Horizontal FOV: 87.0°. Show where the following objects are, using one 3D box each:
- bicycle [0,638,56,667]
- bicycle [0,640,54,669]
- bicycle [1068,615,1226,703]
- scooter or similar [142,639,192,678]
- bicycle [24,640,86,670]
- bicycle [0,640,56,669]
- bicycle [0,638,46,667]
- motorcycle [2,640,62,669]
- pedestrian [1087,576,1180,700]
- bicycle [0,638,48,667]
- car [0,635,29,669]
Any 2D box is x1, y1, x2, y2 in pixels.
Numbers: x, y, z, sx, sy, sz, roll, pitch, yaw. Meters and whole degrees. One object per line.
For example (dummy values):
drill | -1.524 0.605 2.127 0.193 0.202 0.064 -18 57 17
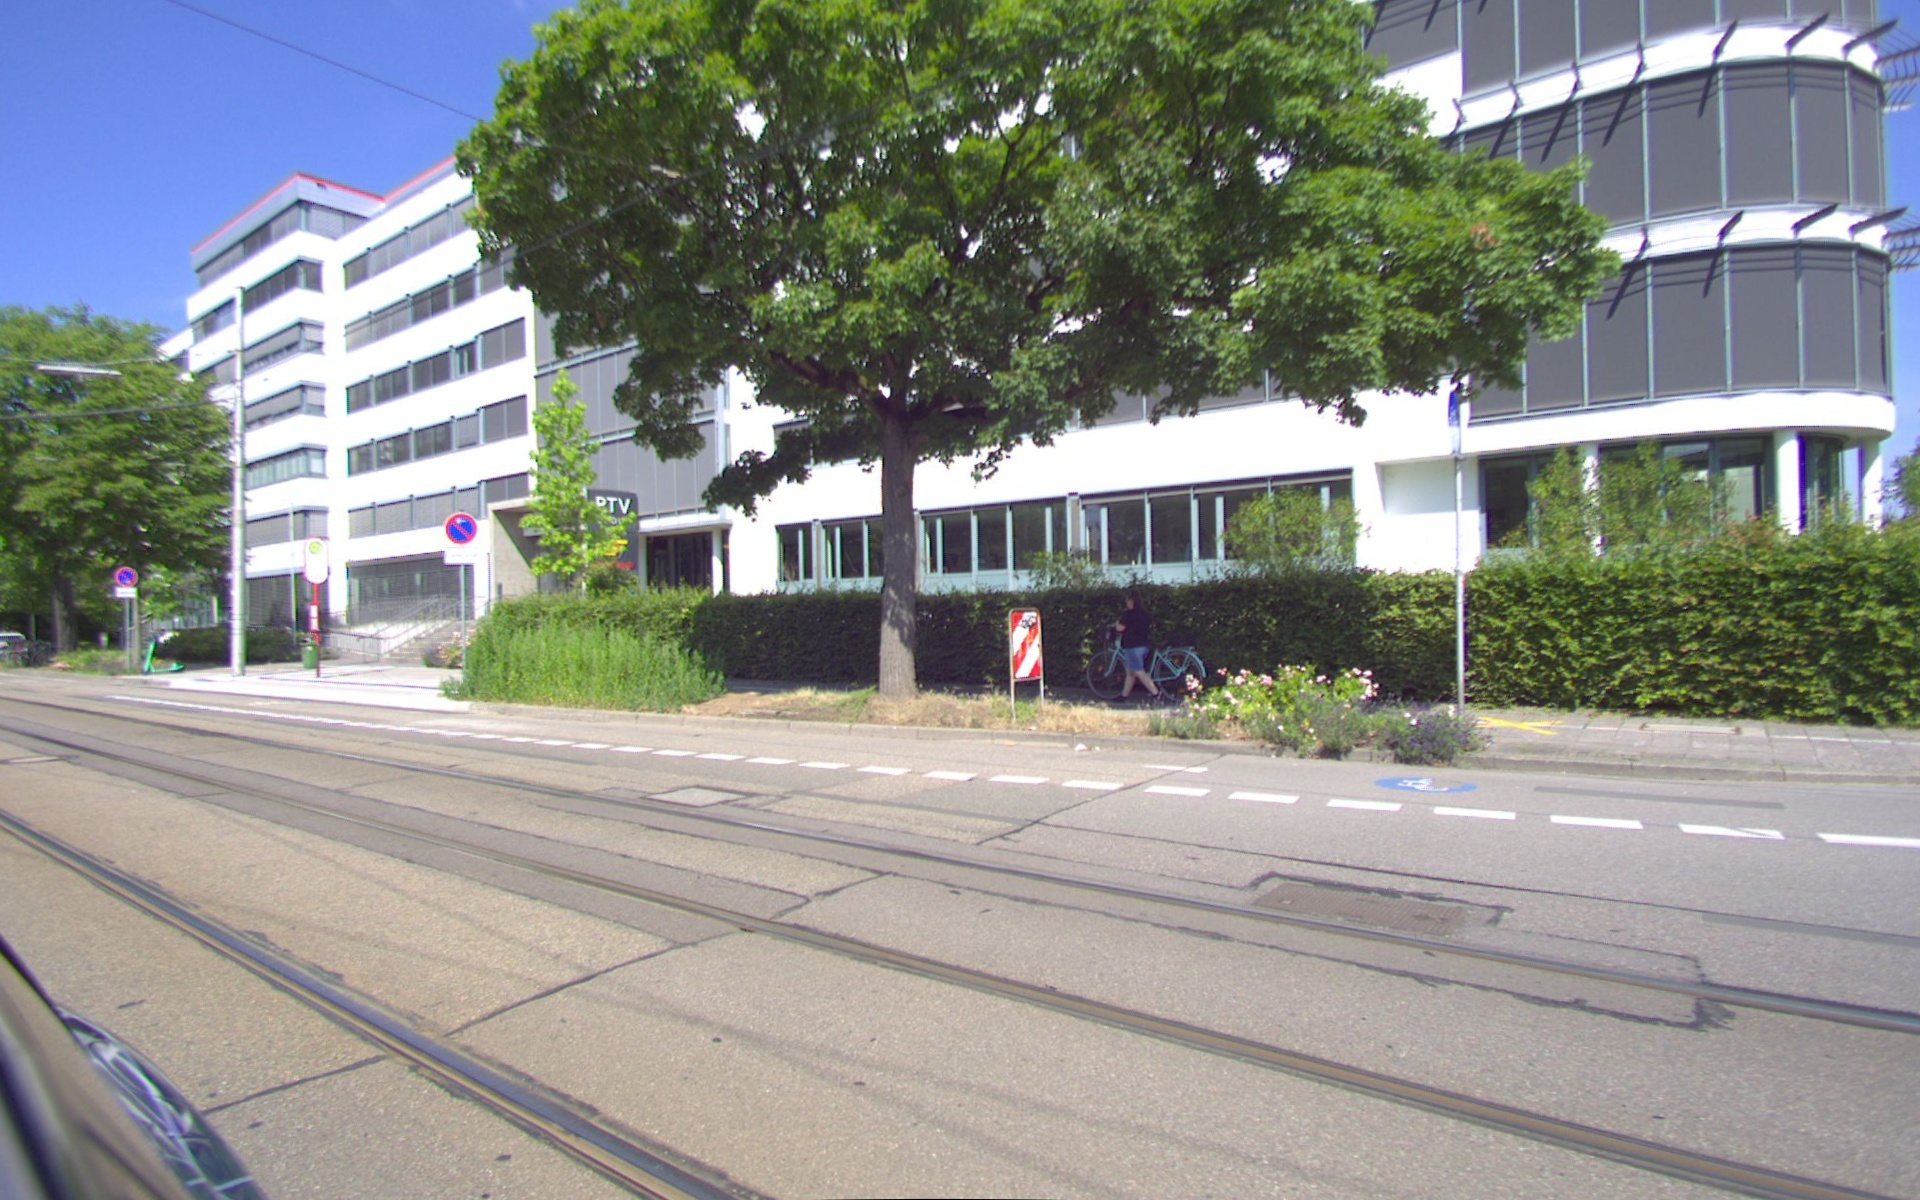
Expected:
bicycle | -39.419 2.208 42.719 0.725 1.094 1.776 -2 -1 37
bicycle | -39.841 2.293 43.033 0.679 1.140 1.831 -2 -1 37
bicycle | 2.534 0.789 13.873 2.064 1.126 0.630 -2 -1 37
scooter or similar | -25.127 1.831 32.074 0.675 1.175 1.114 -2 -1 40
bicycle | -35.799 2.166 40.058 0.788 1.094 1.708 -2 -1 37
bicycle | -38.799 2.258 42.069 0.638 1.094 1.708 -2 -1 37
bicycle | -40.925 2.260 43.795 0.818 1.178 1.886 -2 -1 37
motorcycle | -37.732 2.211 41.163 0.657 1.094 1.708 -2 -1 37
pedestrian | 2.305 0.490 13.470 0.986 1.575 0.680 -2 1 34
bicycle | -40.415 2.263 43.398 0.685 1.150 1.855 -2 -1 37
car | -44.185 2.378 46.459 3.627 1.483 1.614 -2 -1 39
